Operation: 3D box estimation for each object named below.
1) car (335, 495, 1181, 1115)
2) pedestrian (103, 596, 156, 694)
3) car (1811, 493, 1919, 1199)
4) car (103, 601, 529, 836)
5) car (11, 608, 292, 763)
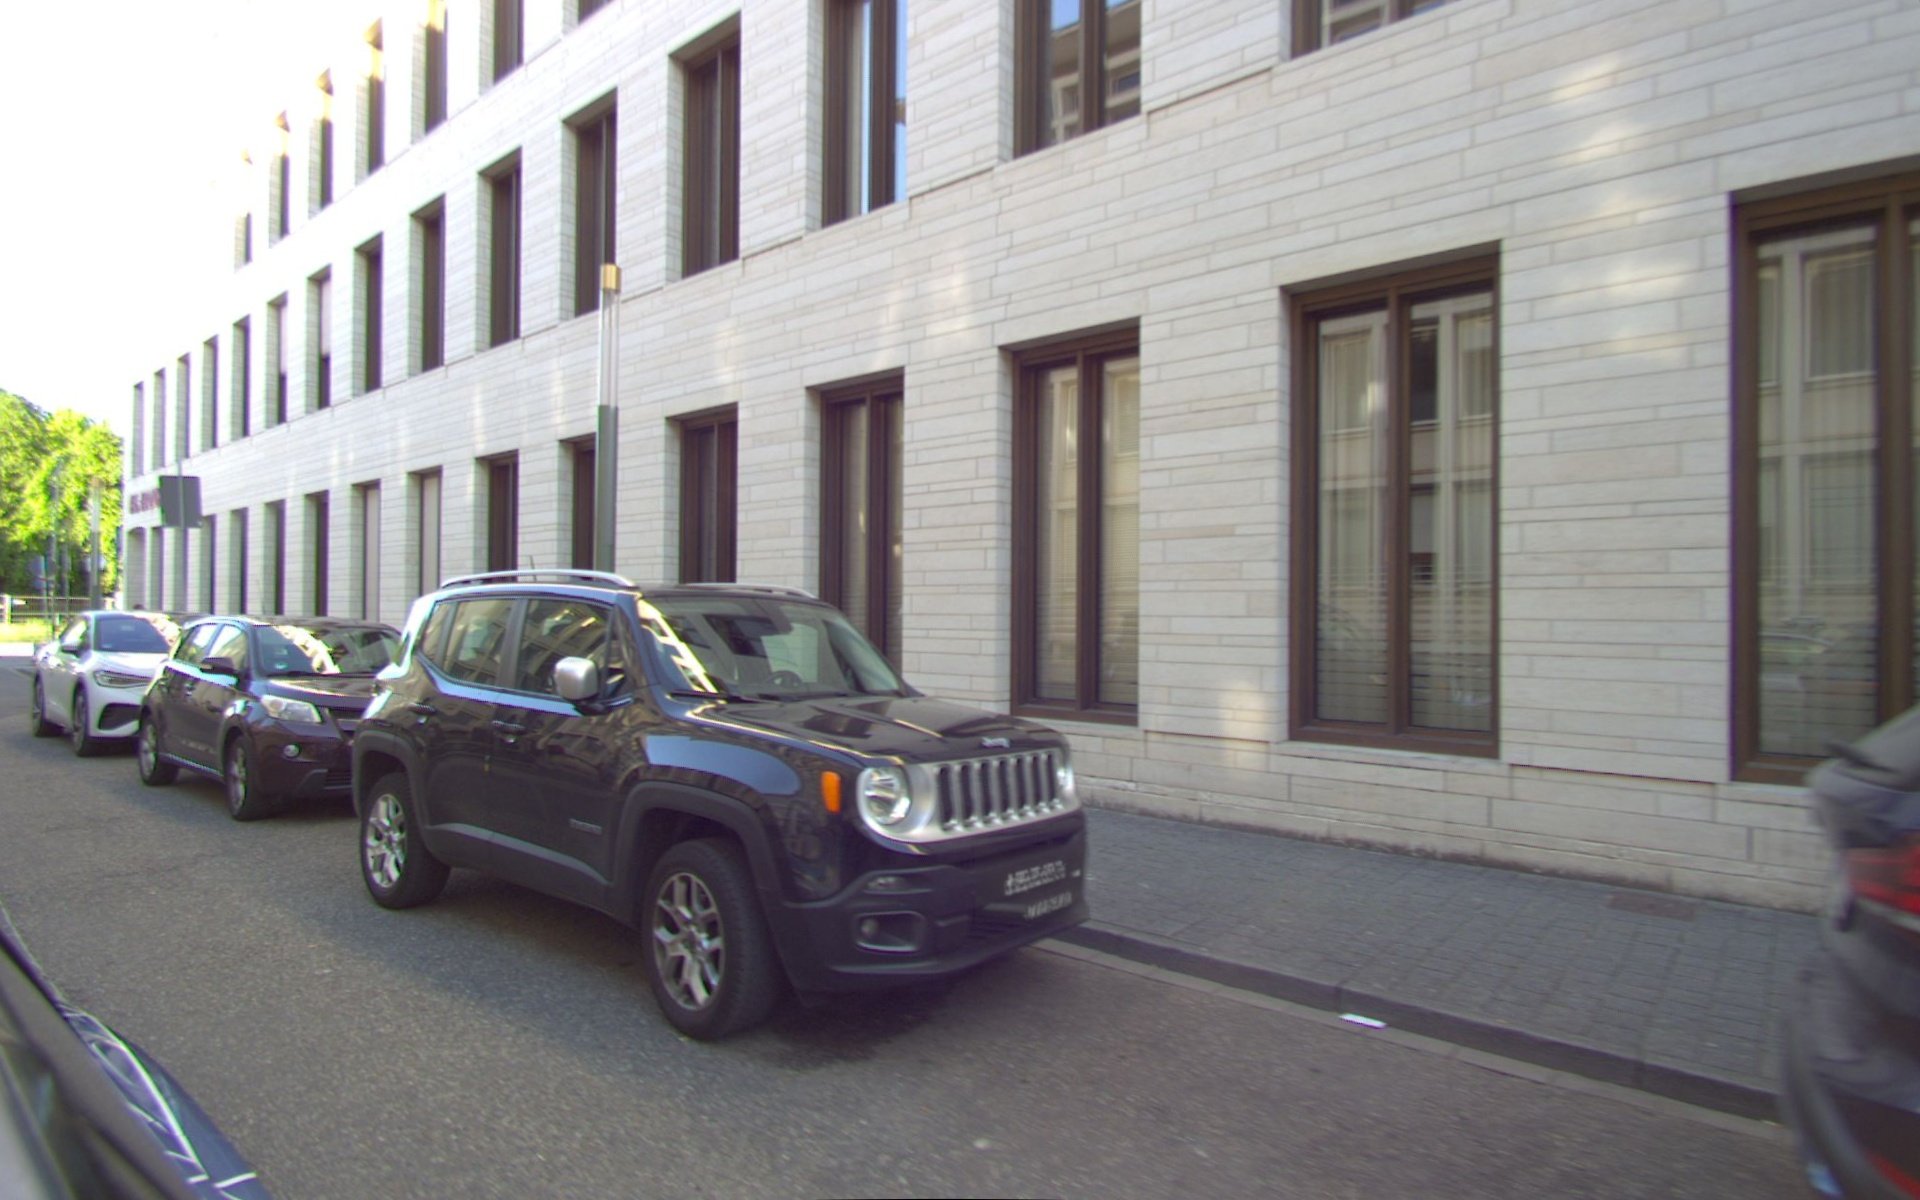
[{"bbox_3d":[-1.185,0.643,4.830,4.014,1.728,1.804,-1,-4,39],"label":"car"},{"bbox_3d":[-15.717,0.829,19.155,0.816,1.803,0.637,0,0,40],"label":"pedestrian"},{"bbox_3d":[3.514,0.652,0.899,4.150,1.607,1.722,-1,-4,39],"label":"car"},{"bbox_3d":[-5.682,0.827,8.729,4.258,1.553,1.805,-1,-2,38],"label":"car"},{"bbox_3d":[-9.937,0.928,12.311,4.443,1.553,1.804,-1,-3,40],"label":"car"}]
